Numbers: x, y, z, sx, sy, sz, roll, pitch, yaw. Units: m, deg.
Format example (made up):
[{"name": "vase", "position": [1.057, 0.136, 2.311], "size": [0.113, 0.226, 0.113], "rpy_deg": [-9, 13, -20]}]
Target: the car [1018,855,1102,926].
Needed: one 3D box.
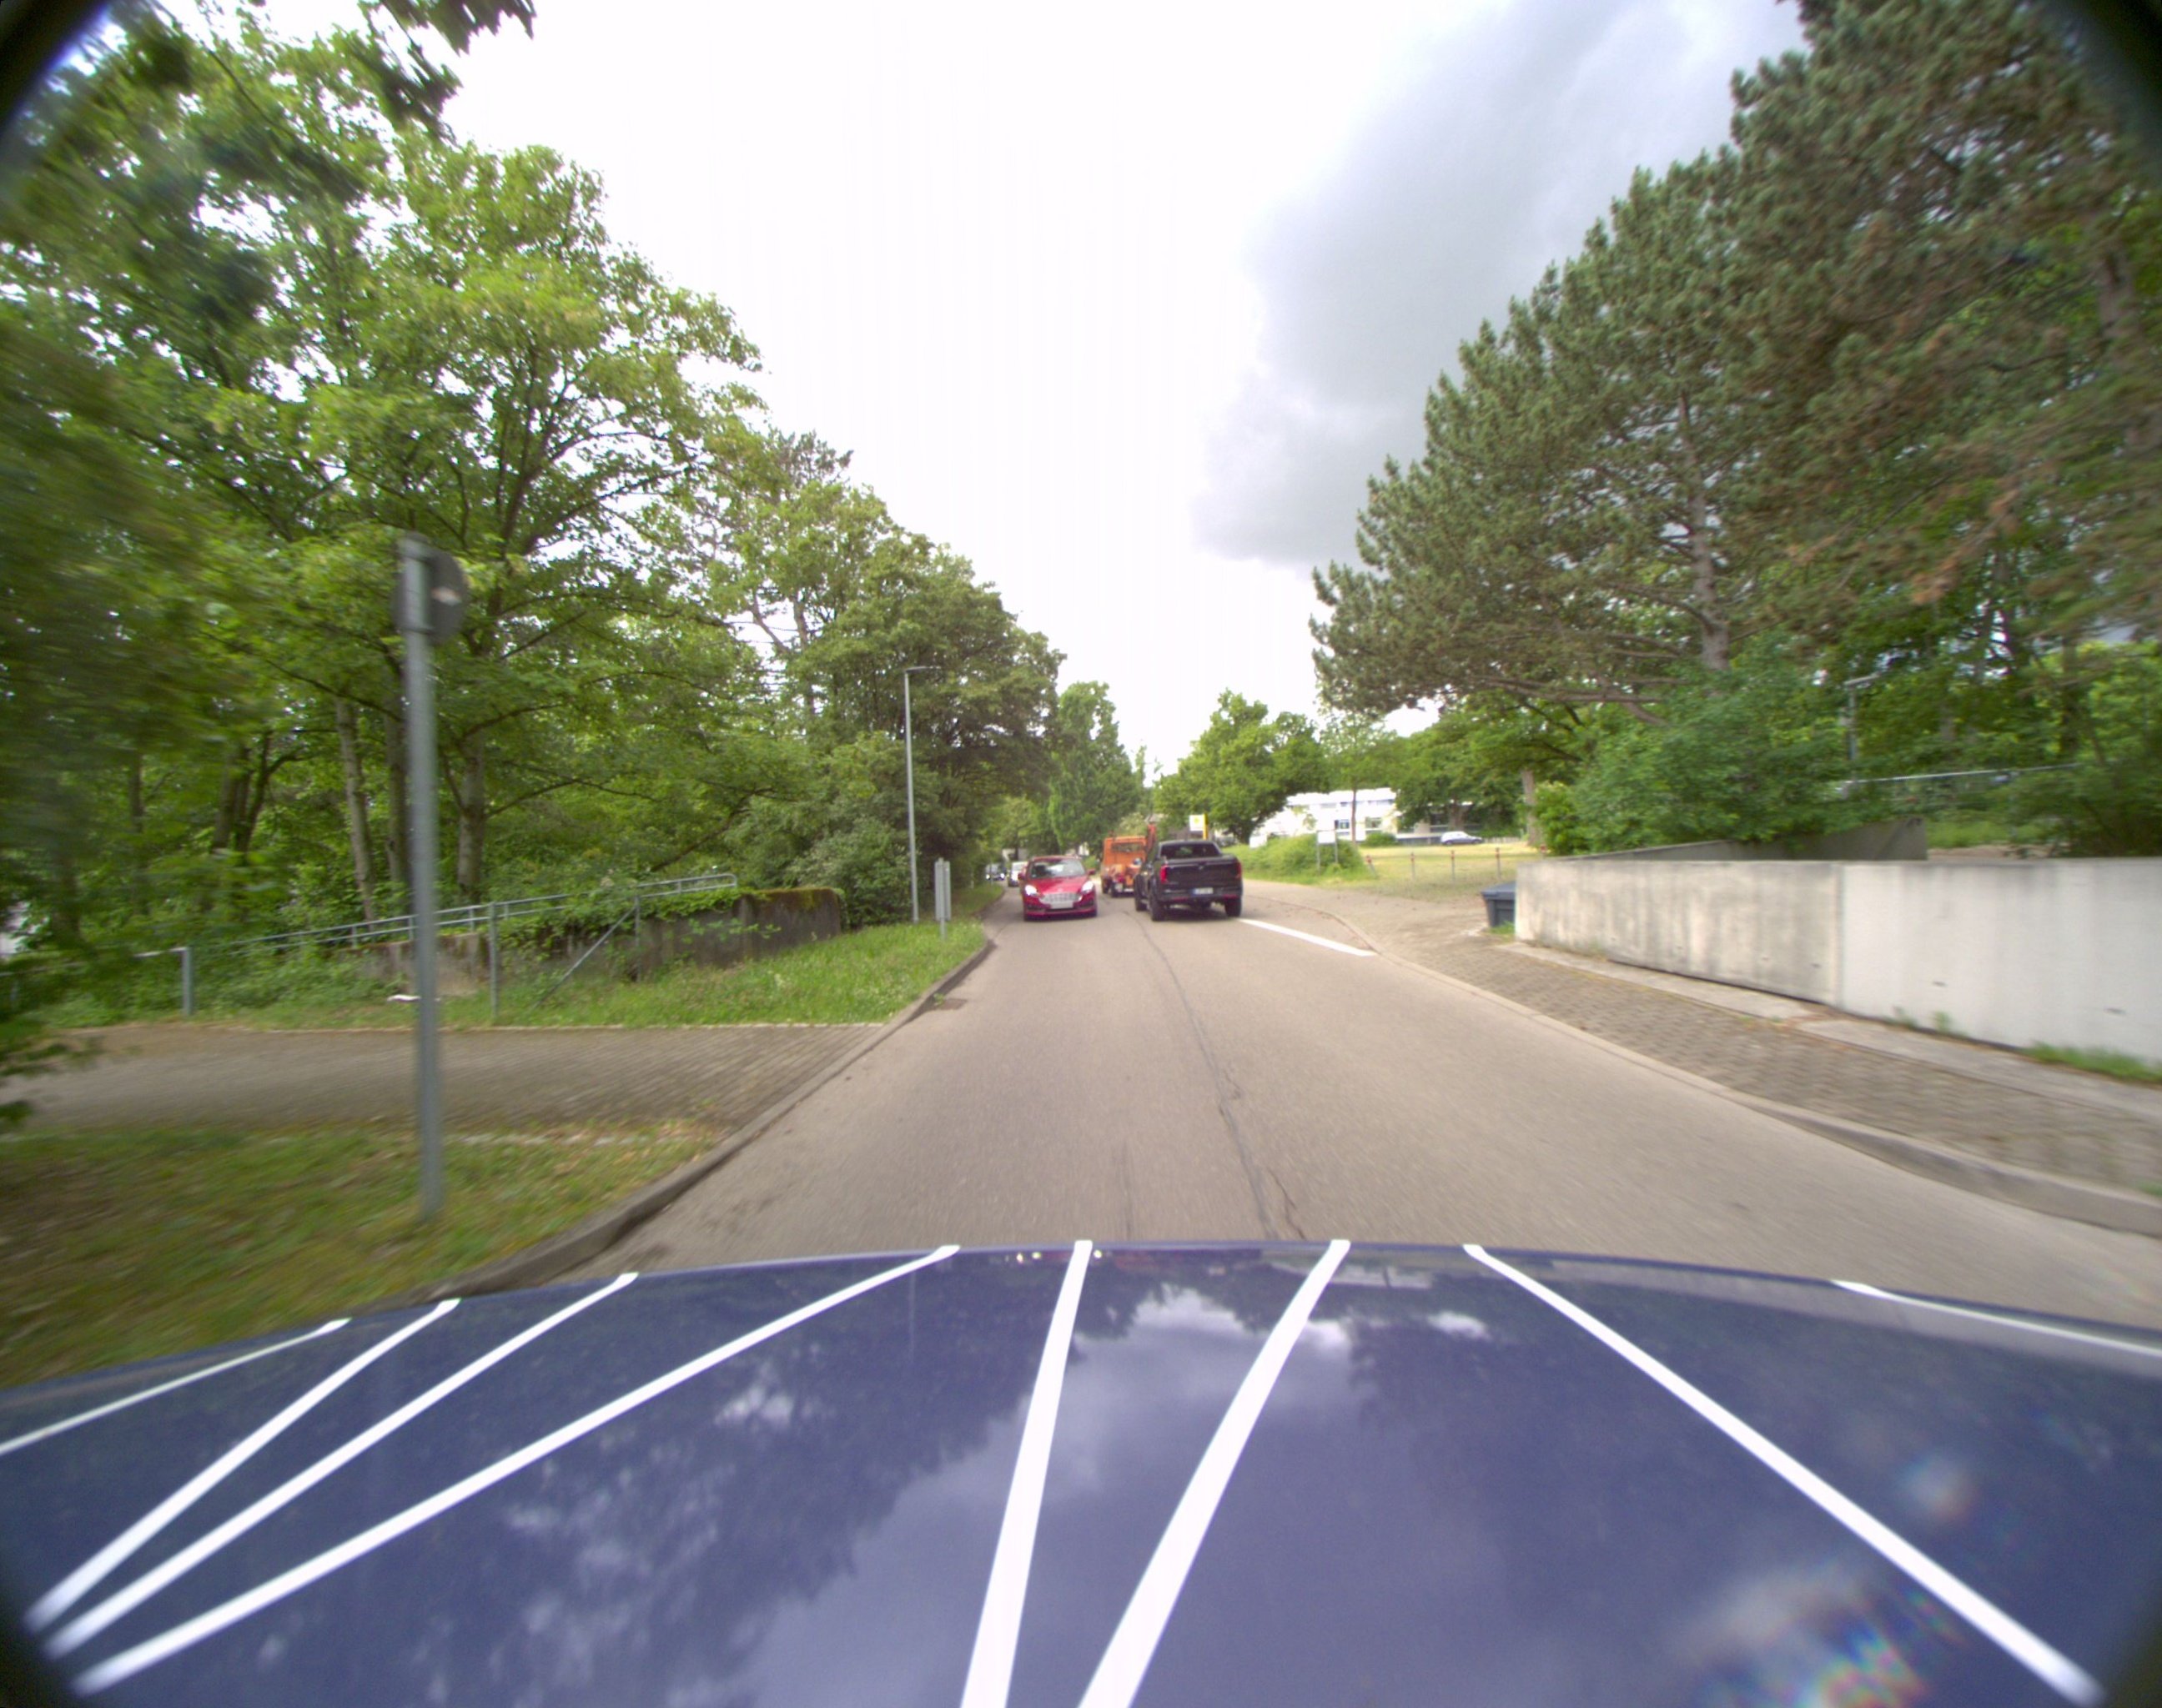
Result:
[{"name": "car", "position": [-0.624, 0.879, 20.586], "size": [1.946, 1.550, 4.354], "rpy_deg": [-4, 1, -3]}]

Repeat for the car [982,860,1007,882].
[{"name": "car", "position": [-7.910, 1.547, 69.700], "size": [1.999, 1.663, 3.998], "rpy_deg": [-4, 1, -3]}]

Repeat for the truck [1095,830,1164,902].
[{"name": "truck", "position": [1.819, 0.443, 30.041], "size": [2.328, 2.455, 6.021], "rpy_deg": [-3, 0, 2]}]

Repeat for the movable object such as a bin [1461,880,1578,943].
[{"name": "movable object such as a bin", "position": [6.357, 0.801, 11.031], "size": [1.149, 0.756, 1.047], "rpy_deg": [-5, 2, -35]}]

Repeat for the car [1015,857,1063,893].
[{"name": "car", "position": [-2.115, 0.982, 37.139], "size": [1.948, 1.522, 4.083], "rpy_deg": [-4, 0, -8]}]

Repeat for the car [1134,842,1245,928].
[{"name": "car", "position": [2.465, 0.651, 18.650], "size": [1.998, 1.725, 5.337], "rpy_deg": [-2, 0, 1]}]

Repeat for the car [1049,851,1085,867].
[{"name": "car", "position": [-1.742, 0.603, 92.395], "size": [3.803, 1.629, 2.003], "rpy_deg": [-3, 2, 27]}]

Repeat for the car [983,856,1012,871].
[{"name": "car", "position": [-9.638, 1.123, 87.129], "size": [1.856, 1.483, 3.992], "rpy_deg": [-4, 0, -29]}]

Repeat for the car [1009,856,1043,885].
[{"name": "car", "position": [-3.706, 1.049, 50.396], "size": [1.999, 1.684, 3.997], "rpy_deg": [-4, 1, -6]}]
